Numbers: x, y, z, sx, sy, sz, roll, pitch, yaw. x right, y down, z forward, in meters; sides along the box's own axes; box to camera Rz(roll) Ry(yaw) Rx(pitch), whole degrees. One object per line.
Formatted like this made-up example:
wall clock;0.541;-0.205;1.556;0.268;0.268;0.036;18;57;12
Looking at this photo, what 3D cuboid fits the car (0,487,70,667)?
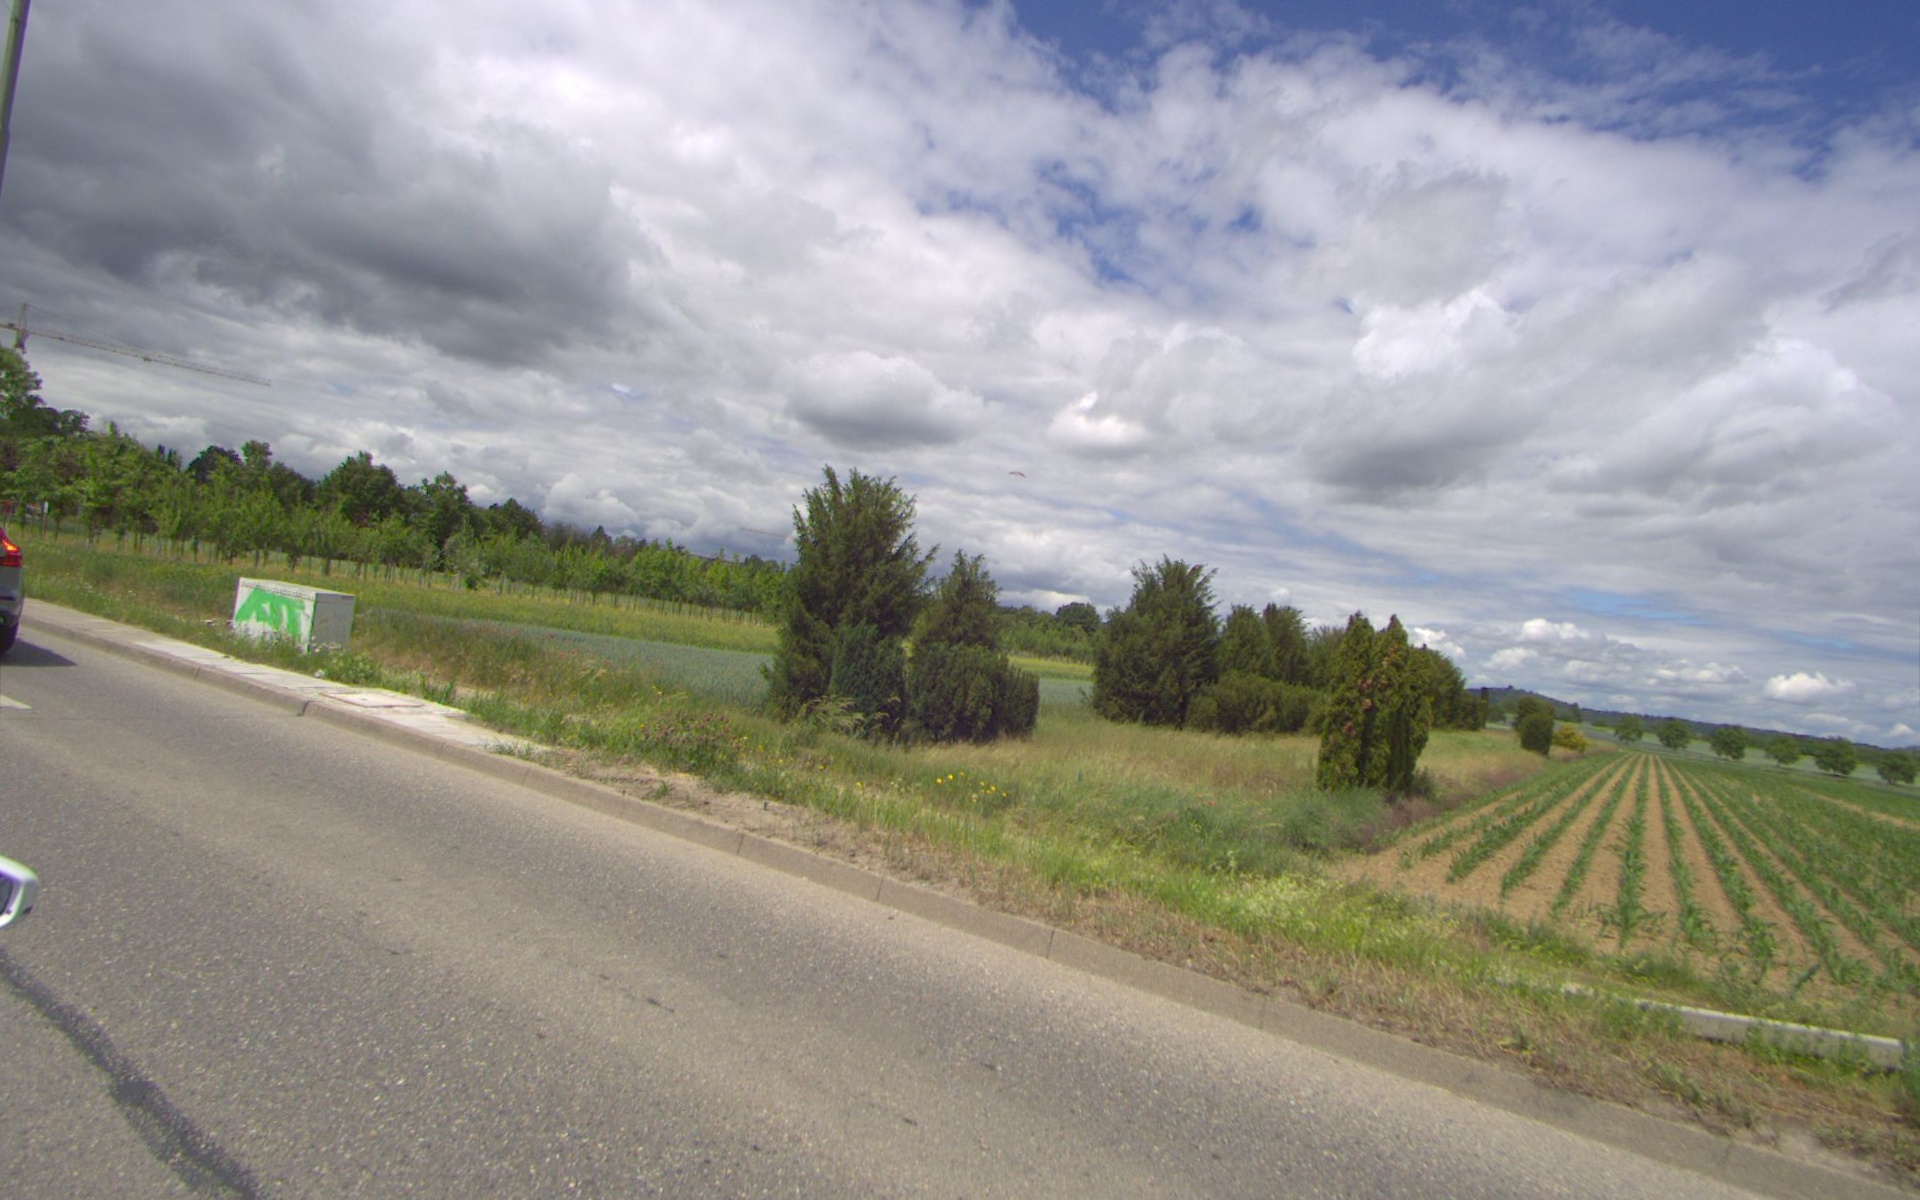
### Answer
car;-10.335;-0.427;9.317;4.269;1.544;1.960;6;0;32
